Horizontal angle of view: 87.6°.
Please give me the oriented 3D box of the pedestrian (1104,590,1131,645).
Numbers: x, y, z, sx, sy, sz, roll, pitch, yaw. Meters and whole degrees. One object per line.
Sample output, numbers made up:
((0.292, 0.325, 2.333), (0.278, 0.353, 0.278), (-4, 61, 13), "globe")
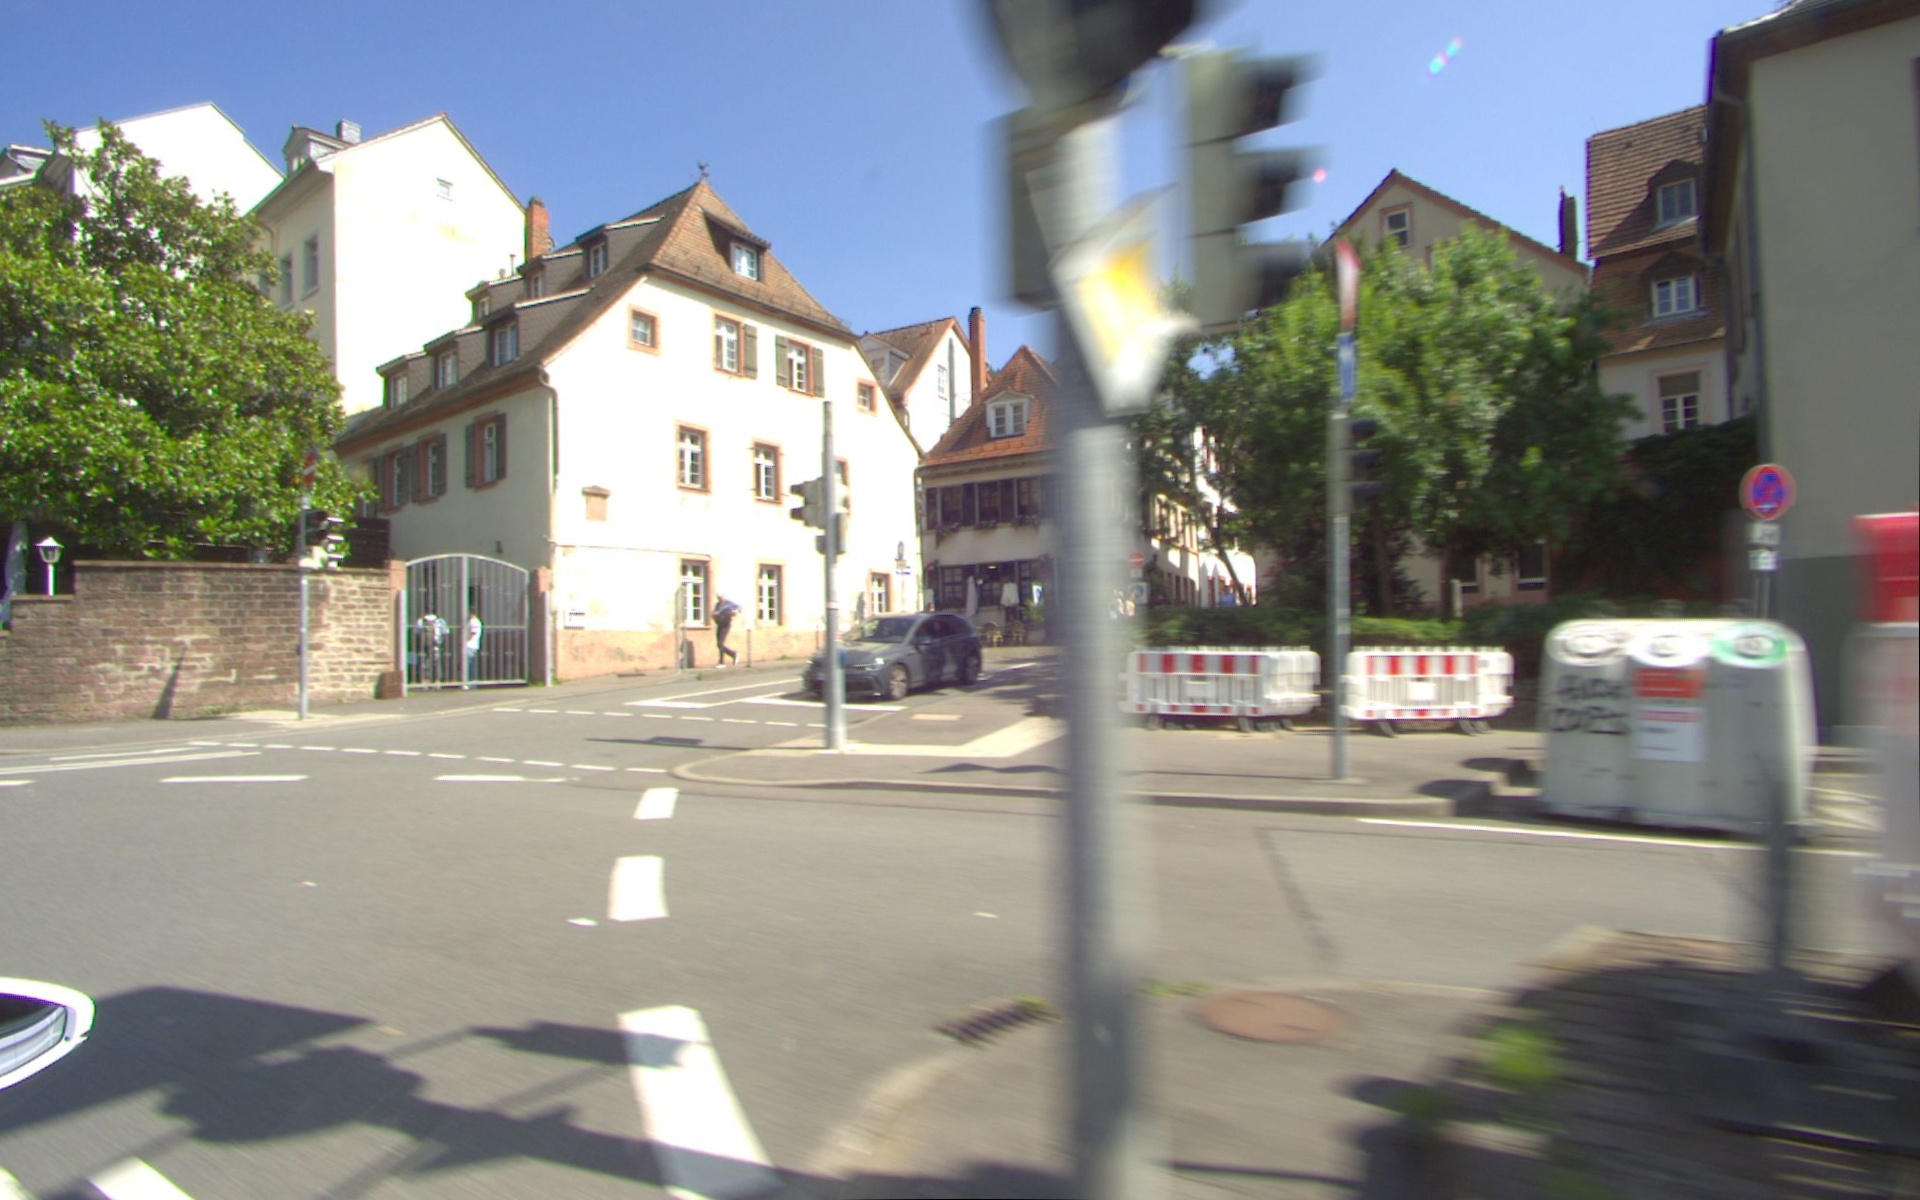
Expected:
((5.000, 0.564, 31.831), (0.654, 1.705, 0.451), (-1, 4, 35), "pedestrian")

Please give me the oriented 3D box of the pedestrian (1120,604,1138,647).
((5.188, 0.789, 30.757), (0.437, 1.294, 0.331), (-1, 2, 35), "pedestrian")

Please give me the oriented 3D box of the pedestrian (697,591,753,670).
((-5.559, 0.718, 23.707), (0.852, 1.817, 0.921), (-1, 1, 35), "pedestrian")

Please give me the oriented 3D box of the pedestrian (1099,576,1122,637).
((4.524, 0.194, 30.075), (0.429, 1.813, 0.483), (-1, 4, 34), "pedestrian")

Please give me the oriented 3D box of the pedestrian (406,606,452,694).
((-10.723, 0.994, 20.219), (0.716, 1.728, 0.703), (-1, -1, -35), "pedestrian")

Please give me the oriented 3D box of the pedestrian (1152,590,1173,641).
((6.465, 0.508, 31.966), (0.501, 1.598, 0.414), (-1, 4, 35), "pedestrian")

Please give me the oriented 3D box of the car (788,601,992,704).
((-1.170, 0.870, 18.556), (1.833, 1.507, 3.979), (3, 3, 31), "car")

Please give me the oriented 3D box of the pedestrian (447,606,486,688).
((-10.658, 1.001, 21.612), (0.698, 1.728, 0.722), (-1, -1, -30), "pedestrian")
